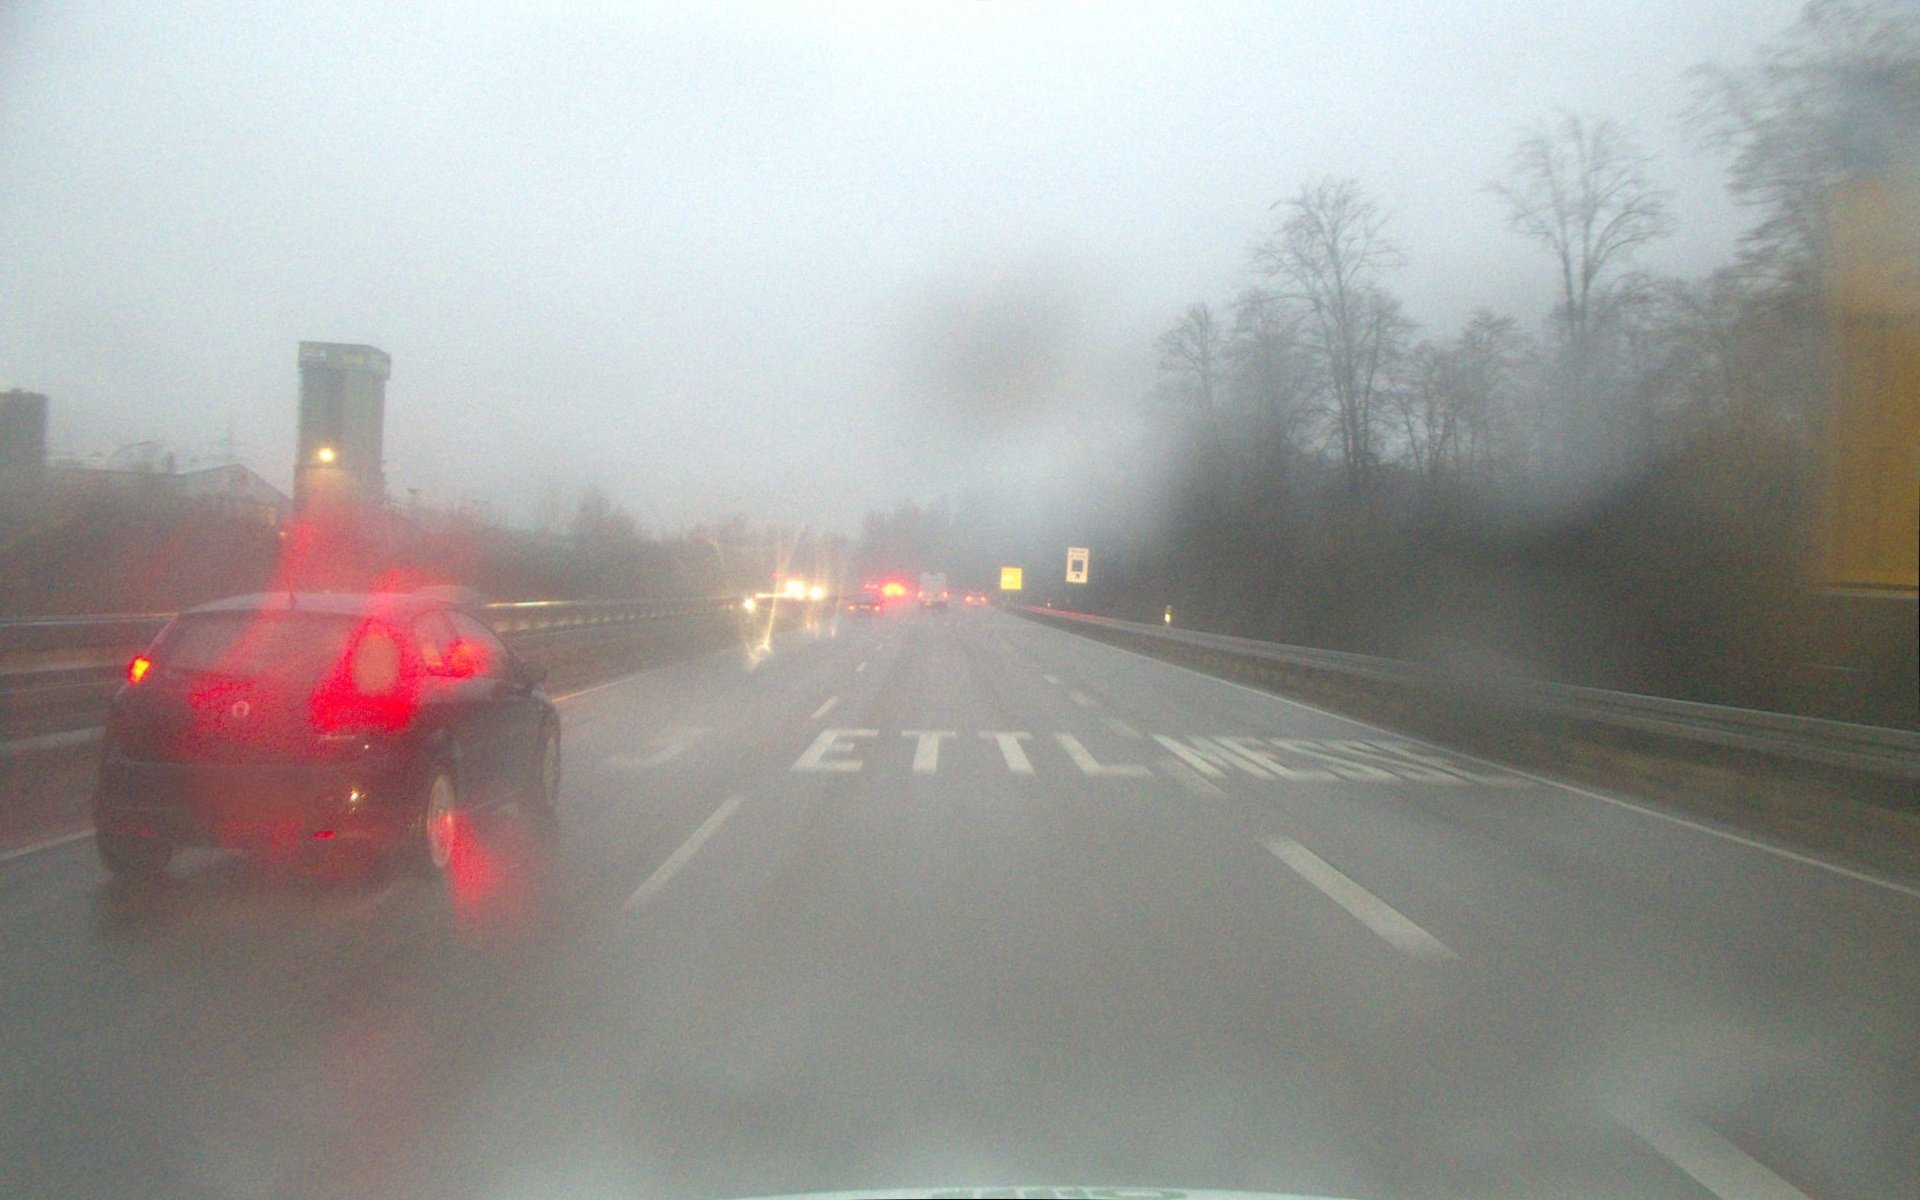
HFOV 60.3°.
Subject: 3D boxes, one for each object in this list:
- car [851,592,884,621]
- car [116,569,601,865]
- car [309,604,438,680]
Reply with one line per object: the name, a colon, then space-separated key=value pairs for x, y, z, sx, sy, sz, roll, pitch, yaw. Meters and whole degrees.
car: x=-4.456 y=0.294 z=80.114 sx=1.387 sy=1.340 sz=3.082 roll=2 pitch=0 yaw=-1
car: x=-3.434 y=0.592 z=10.268 sx=1.593 sy=1.416 sz=3.998 roll=2 pitch=0 yaw=-2
car: x=-13.956 y=0.954 z=39.573 sx=1.705 sy=1.668 sz=3.999 roll=0 pitch=0 yaw=-1
